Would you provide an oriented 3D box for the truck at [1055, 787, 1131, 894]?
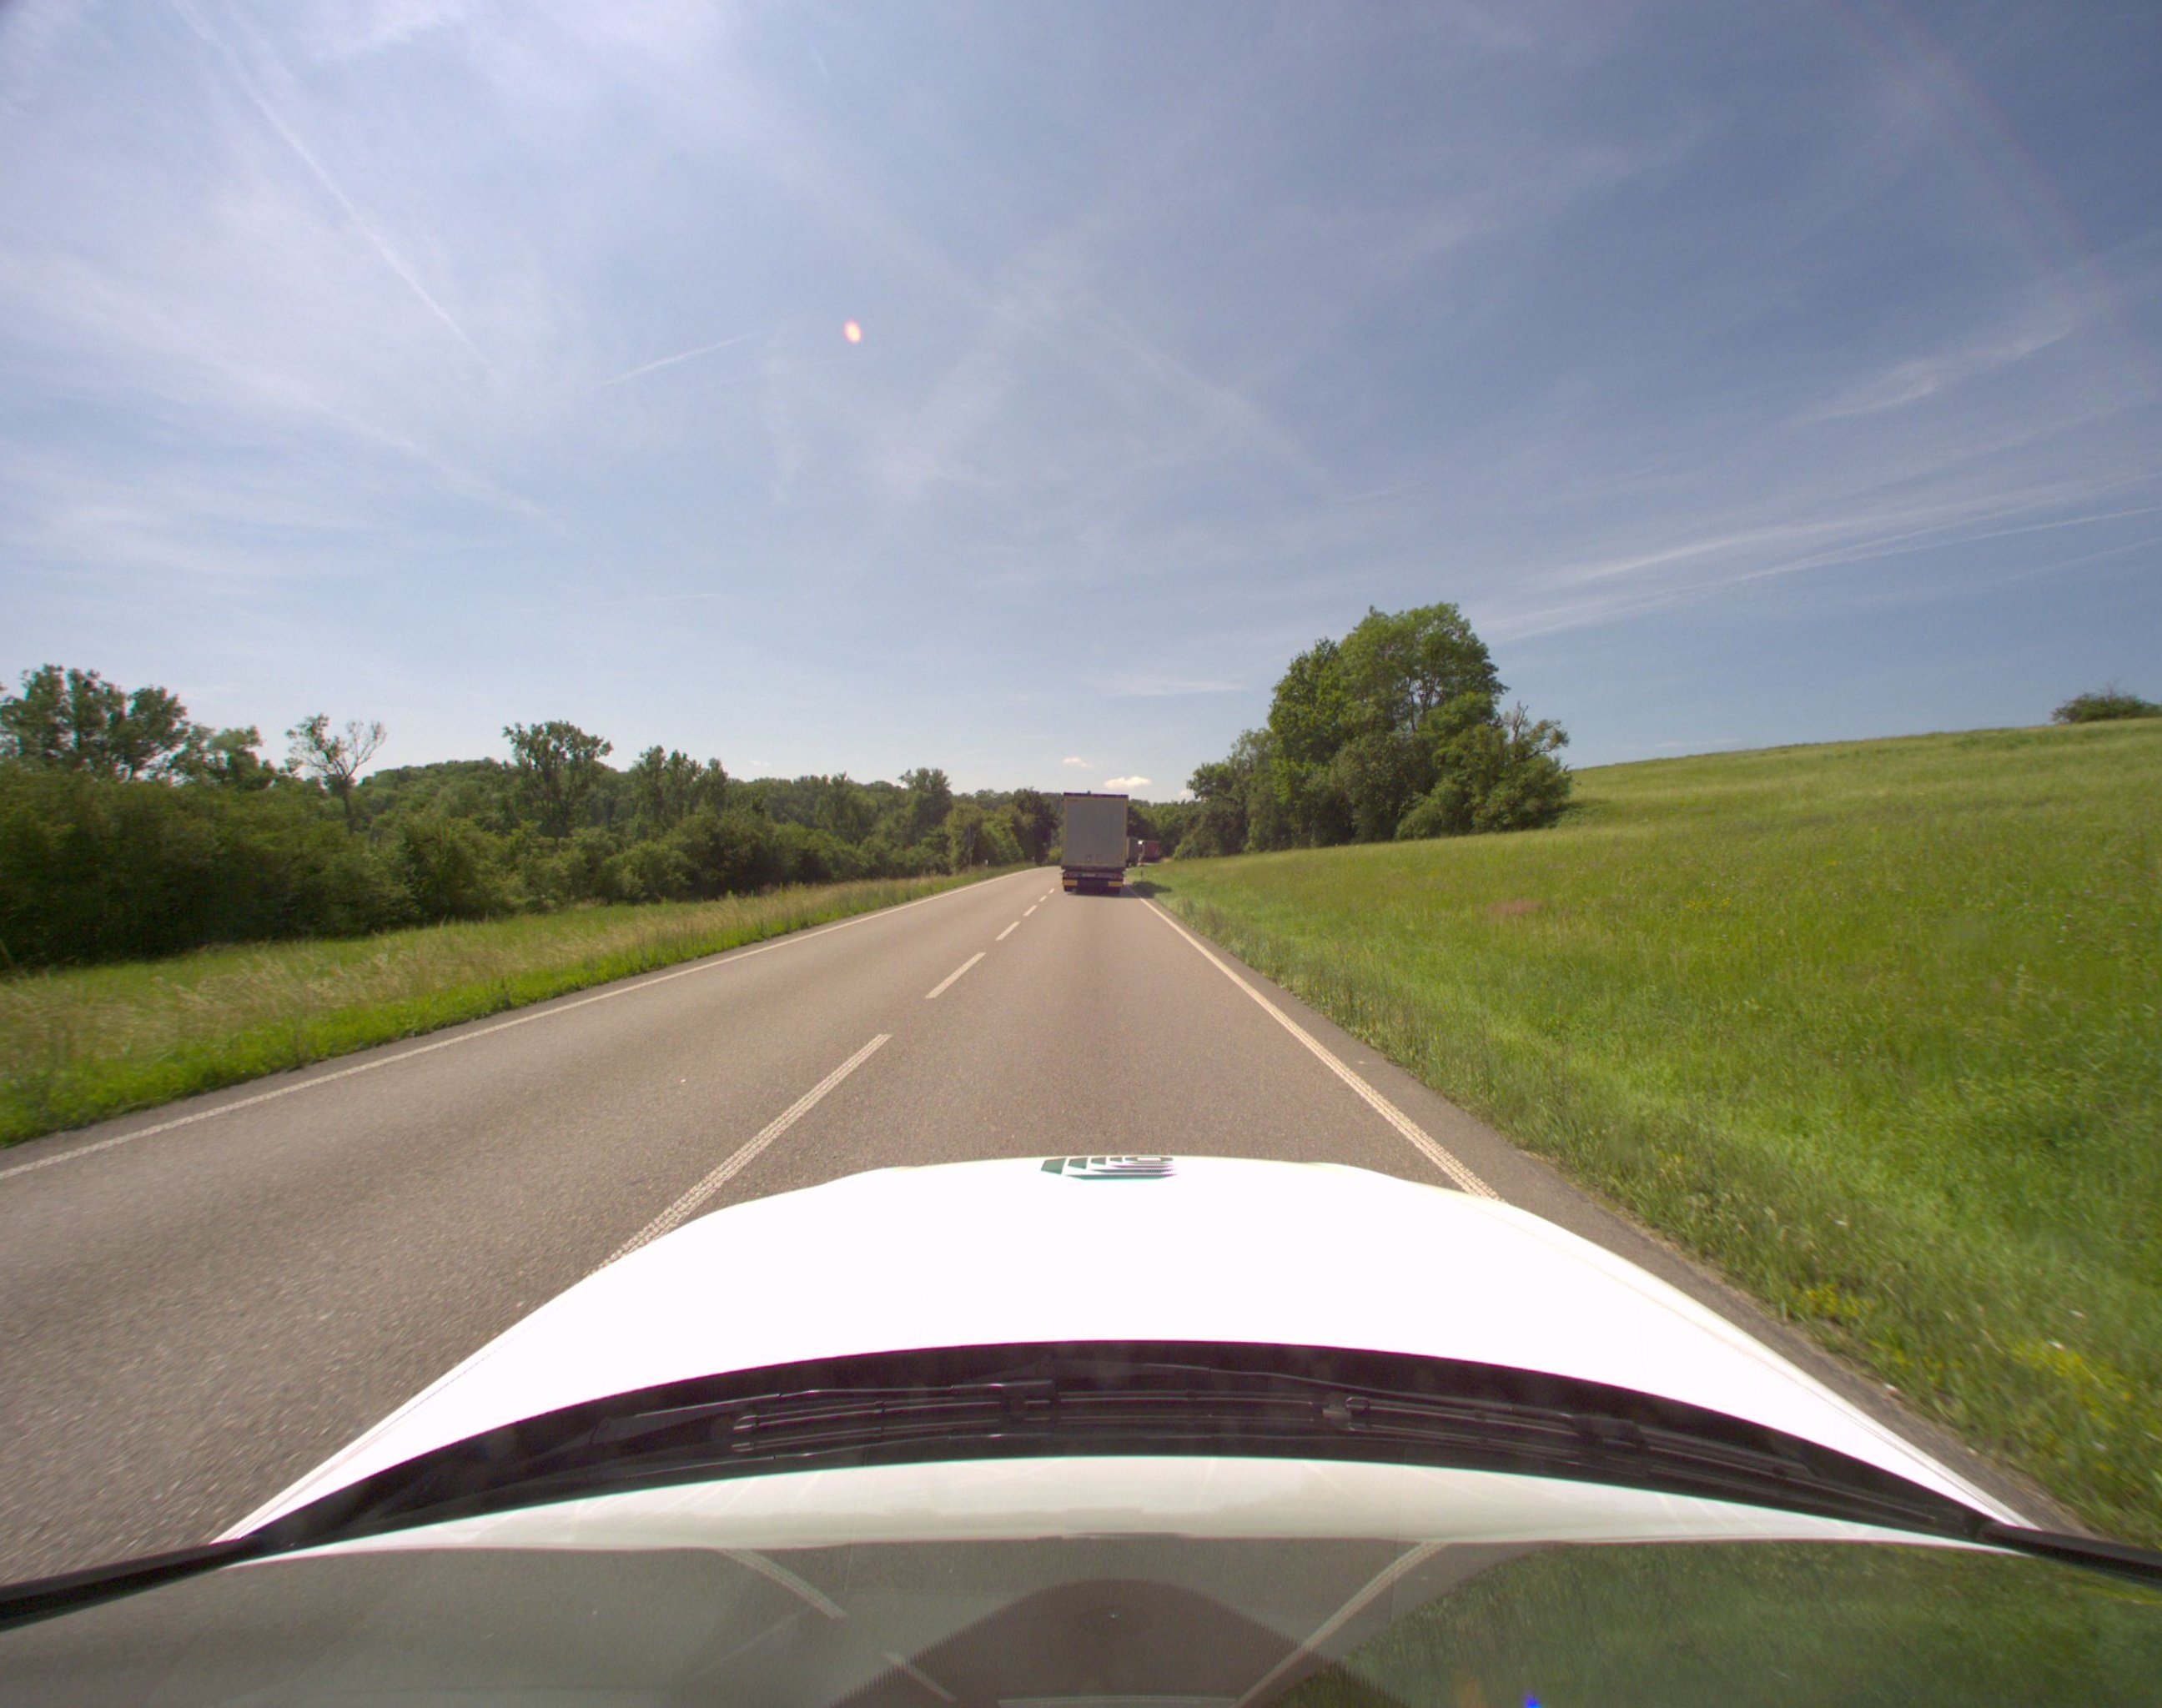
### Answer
[{"bbox_3d":[0.490,-0.512,39.116,2.792,4.068,15.323,2,0,0],"label":"truck"}]

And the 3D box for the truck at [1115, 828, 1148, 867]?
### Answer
[{"bbox_3d":[7.077,-0.980,110.558,3.088,4.705,16.626,3,1,8],"label":"truck"}]

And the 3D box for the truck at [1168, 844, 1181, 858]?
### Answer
[{"bbox_3d":[19.708,-0.574,171.973,2.340,2.825,5.072,-4,0,10],"label":"truck"}]

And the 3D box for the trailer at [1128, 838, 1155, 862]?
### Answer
[{"bbox_3d":[11.653,-0.679,154.974,2.551,4.107,13.710,5,0,13],"label":"trailer"}]

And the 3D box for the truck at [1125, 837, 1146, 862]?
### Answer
[{"bbox_3d":[9.929,-0.814,147.587,2.542,4.115,5.820,5,0,13],"label":"truck"}]
